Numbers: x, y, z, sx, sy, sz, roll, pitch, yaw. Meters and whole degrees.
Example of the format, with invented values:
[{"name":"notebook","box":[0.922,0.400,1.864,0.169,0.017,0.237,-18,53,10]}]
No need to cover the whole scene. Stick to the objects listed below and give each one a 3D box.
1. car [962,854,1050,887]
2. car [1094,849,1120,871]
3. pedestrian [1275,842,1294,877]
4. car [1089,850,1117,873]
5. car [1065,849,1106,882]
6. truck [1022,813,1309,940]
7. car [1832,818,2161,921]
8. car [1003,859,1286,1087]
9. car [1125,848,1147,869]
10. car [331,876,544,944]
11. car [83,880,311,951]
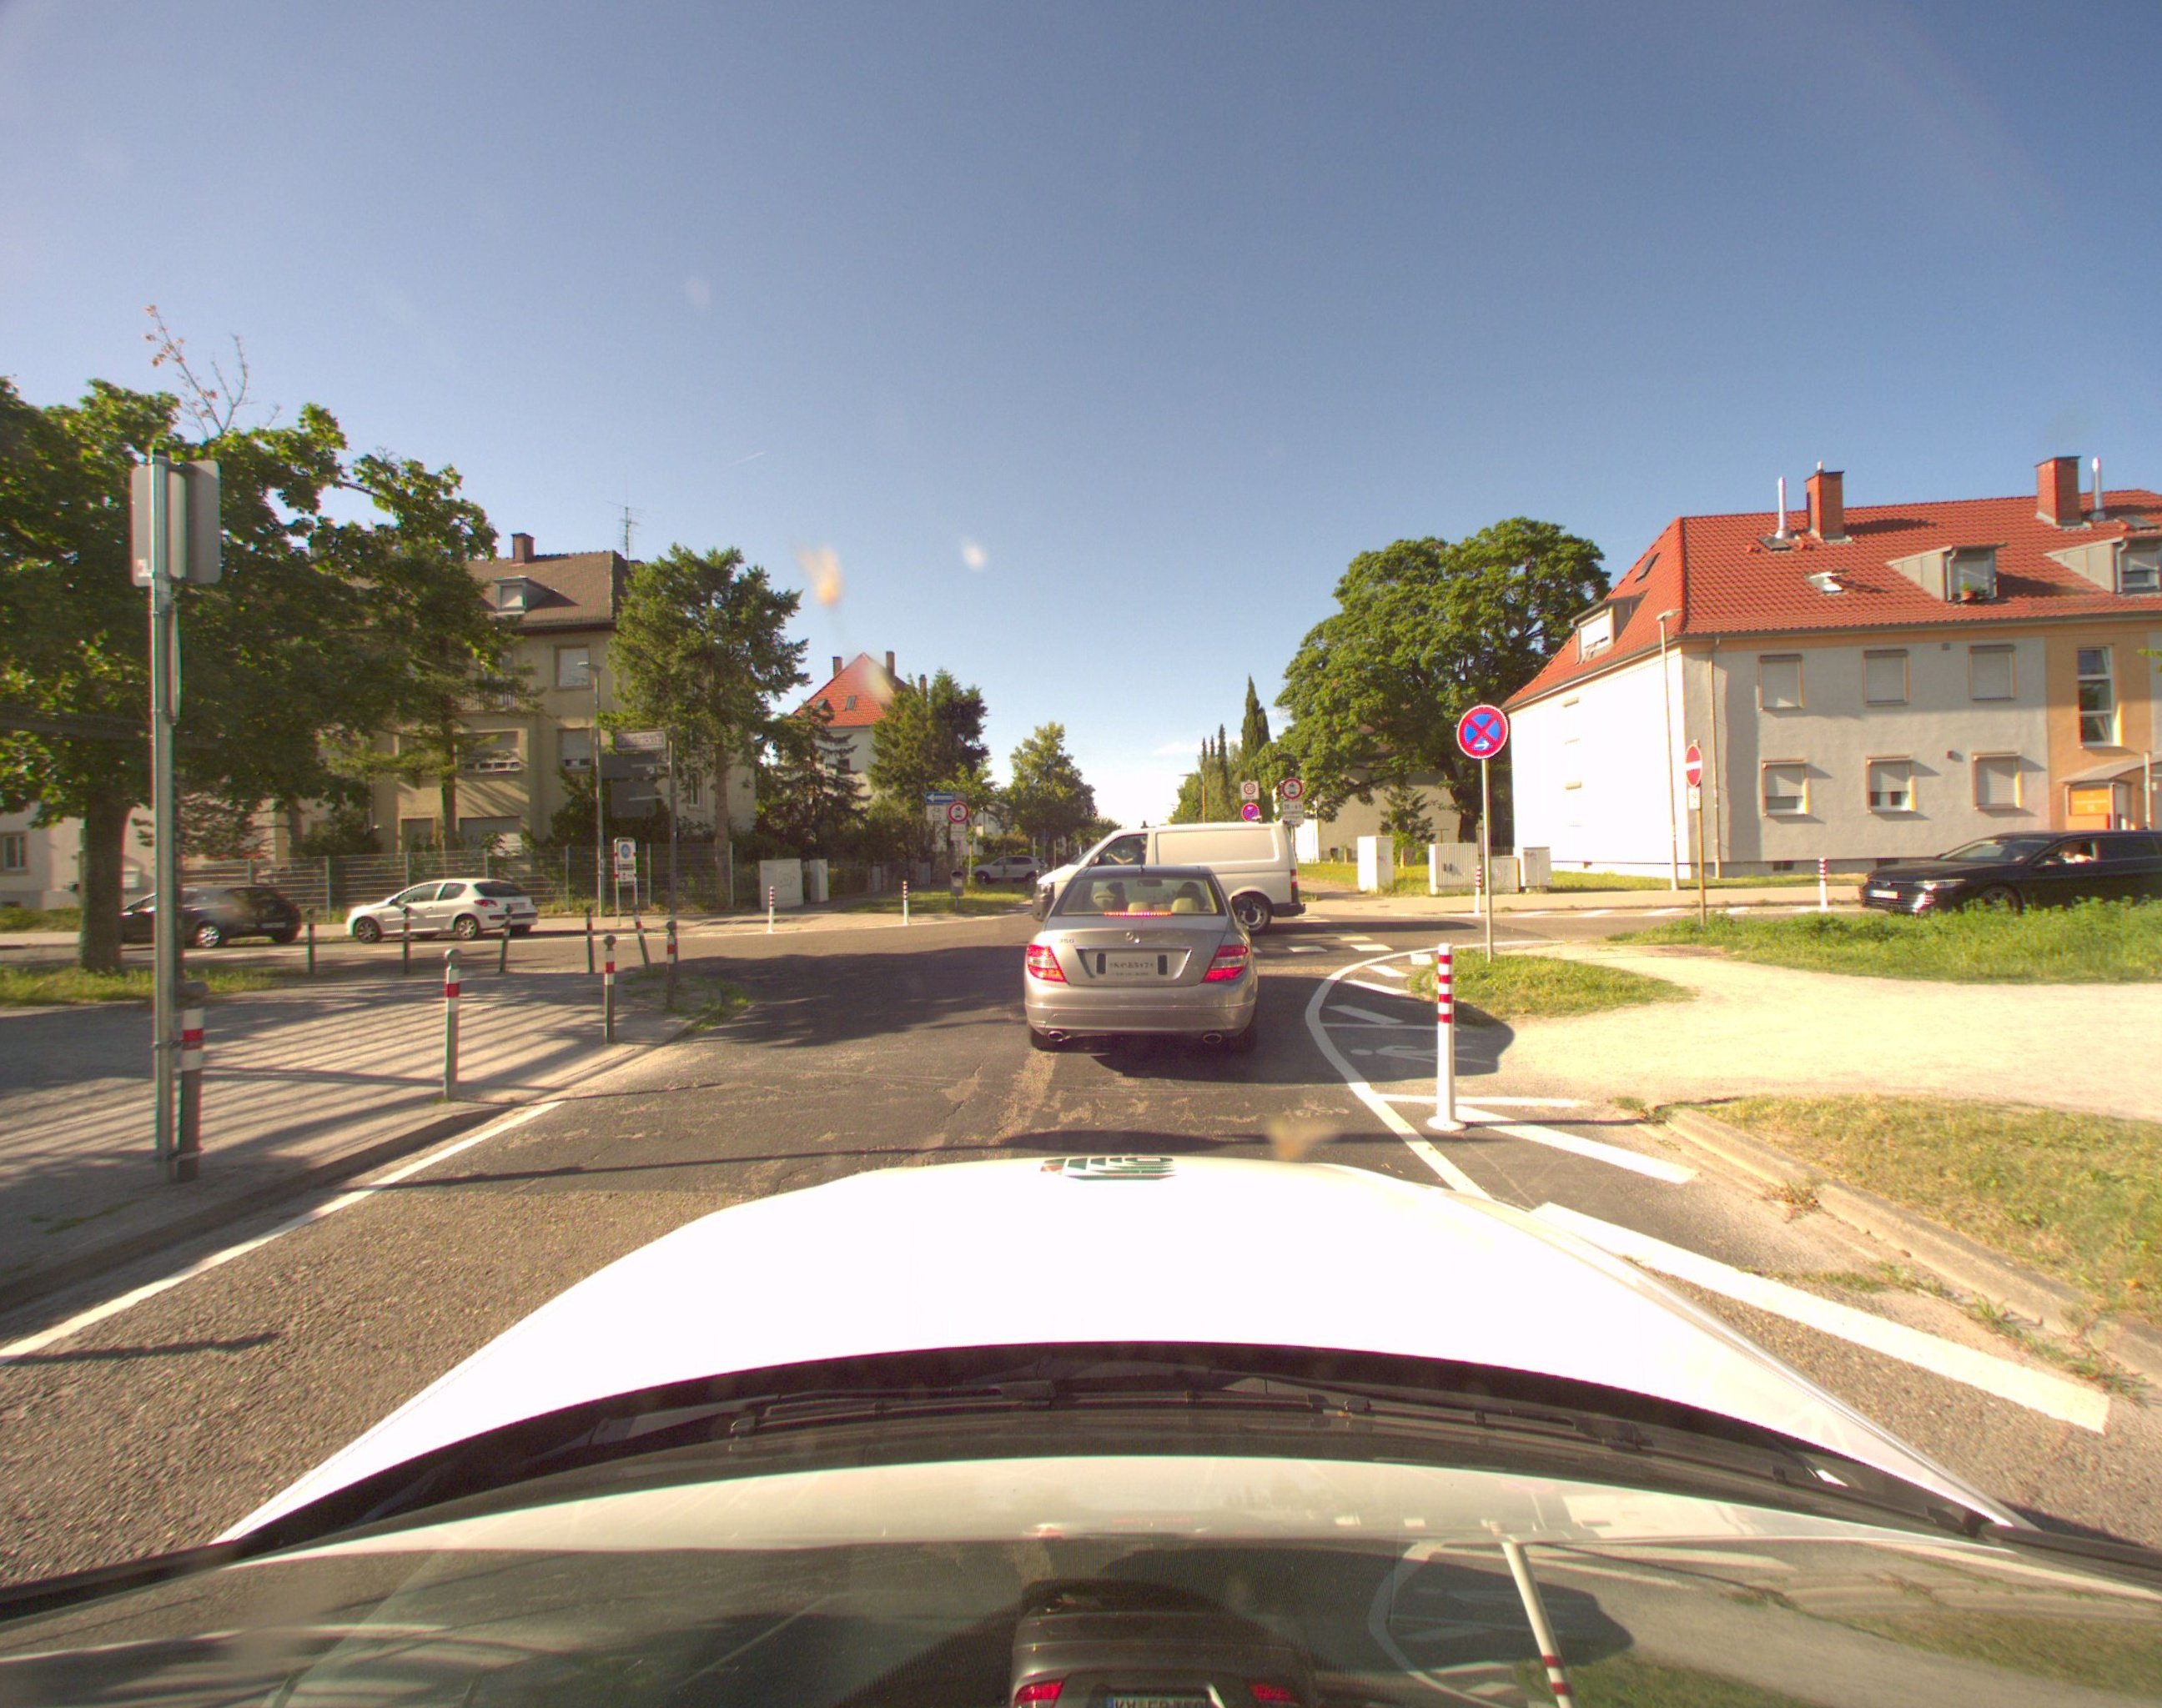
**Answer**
[{"name":"car","box":[-3.719,0.819,40.905,4.177,1.564,1.843,-1,0,1]},{"name":"car","box":[2.244,0.500,69.367,1.986,1.609,4.003,-5,0,3]},{"name":"pedestrian","box":[9.536,0.238,38.184,0.761,1.611,0.836,-2,0,9]},{"name":"car","box":[1.747,0.553,63.584,1.986,1.609,4.003,-5,0,3]},{"name":"car","box":[0.314,0.604,45.808,1.986,1.609,4.003,-5,0,3]},{"name":"truck","box":[1.500,0.391,14.984,4.836,2.036,2.003,-2,0,4]},{"name":"car","box":[16.109,0.226,13.776,4.713,1.524,2.005,-2,0,8]},{"name":"car","box":[0.606,0.794,7.328,1.827,1.441,4.006,-1,0,6]},{"name":"car","box":[4.371,0.354,64.974,1.591,1.609,3.646,-2,0,3]},{"name":"car","box":[-15.145,1.298,19.282,3.747,1.398,1.709,-2,-1,4]},{"name":"car","box":[-21.070,1.442,19.491,3.796,1.494,1.679,-2,-1,4]}]
